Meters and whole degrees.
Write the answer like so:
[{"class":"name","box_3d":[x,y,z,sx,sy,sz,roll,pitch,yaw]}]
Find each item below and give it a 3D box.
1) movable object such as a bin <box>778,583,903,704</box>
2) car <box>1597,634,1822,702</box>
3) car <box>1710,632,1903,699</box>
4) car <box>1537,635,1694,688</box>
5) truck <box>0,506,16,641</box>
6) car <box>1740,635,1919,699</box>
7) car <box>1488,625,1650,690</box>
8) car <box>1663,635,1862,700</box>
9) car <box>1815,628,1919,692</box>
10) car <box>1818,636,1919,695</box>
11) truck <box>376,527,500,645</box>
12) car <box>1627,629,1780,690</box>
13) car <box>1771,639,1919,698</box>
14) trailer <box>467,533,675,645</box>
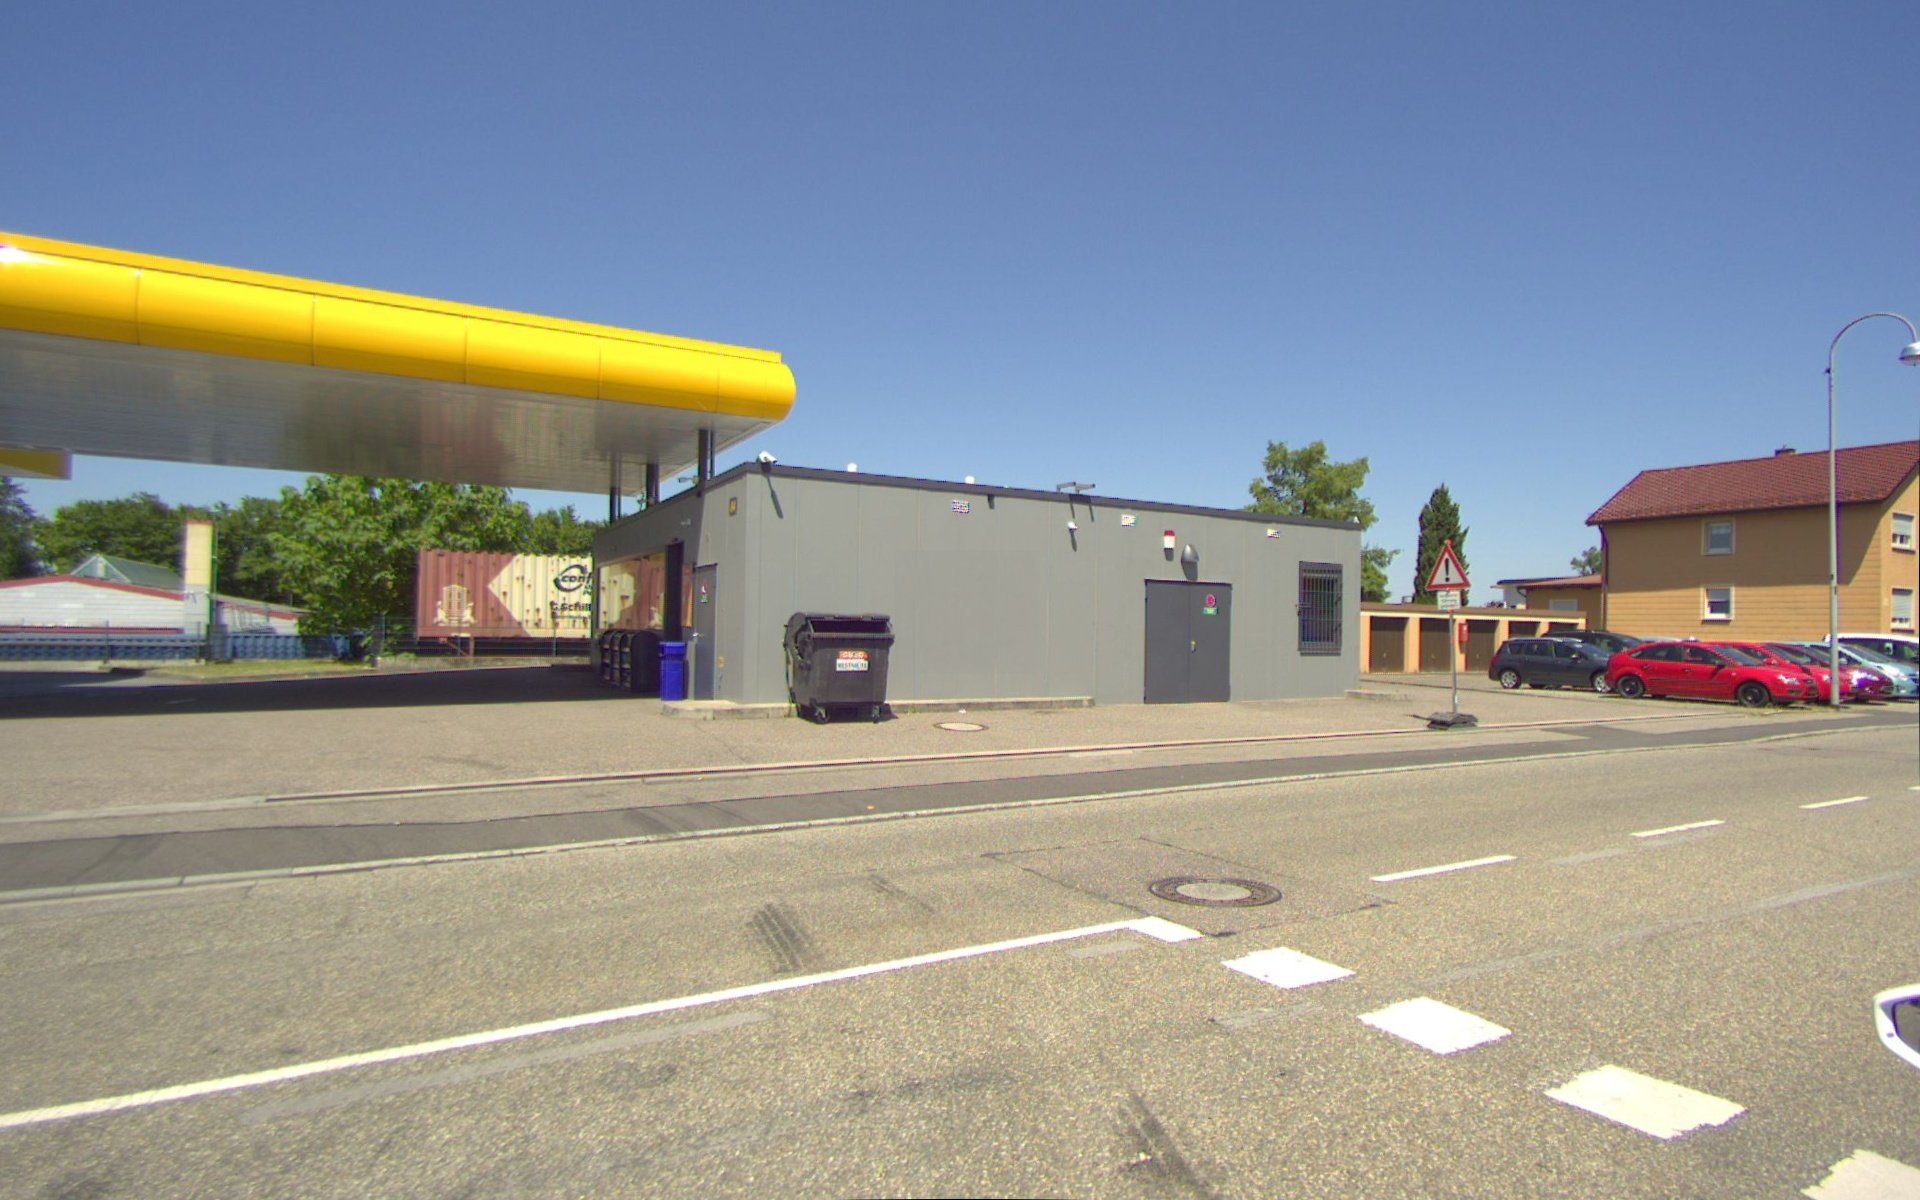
[{"class":"movable object such as a bin","box_3d":[-1.649,0.568,13.831,1.411,1.538,0.947,1,3,-30]},{"class":"car","box_3d":[18.435,1.630,24.895,1.806,1.463,4.105,3,-2,-31]},{"class":"car","box_3d":[22.811,1.727,27.189,1.862,1.626,3.643,3,-2,-32]},{"class":"car","box_3d":[20.182,1.873,31.068,1.872,1.476,3.643,3,-2,-32]},{"class":"truck","box_3d":[-21.651,-0.647,17.759,6.490,2.632,2.919,2,-2,-15]},{"class":"car","box_3d":[24.611,1.843,28.394,1.902,1.601,3.643,3,-2,-32]},{"class":"car","box_3d":[17.915,1.662,29.672,1.872,1.732,3.643,3,-2,-33]},{"class":"car","box_3d":[20.642,1.689,25.968,1.872,1.476,3.643,3,-2,-32]},{"class":"car","box_3d":[30.006,1.905,31.851,1.980,1.923,4.067,3,-2,-35]},{"class":"car","box_3d":[28.500,1.978,30.293,1.902,1.694,3.643,3,-2,-32]},{"class":"truck","box_3d":[-15.442,-0.350,29.733,3.152,3.285,1.837,1,-1,-31]},{"class":"car","box_3d":[24.341,1.913,32.983,1.902,1.799,3.643,3,-2,-32]},{"class":"car","box_3d":[26.396,1.977,29.467,1.902,1.552,3.643,3,-2,-32]},{"class":"trailer","box_3d":[-12.173,-0.248,31.594,5.845,3.262,1.856,2,-1,-31]}]
